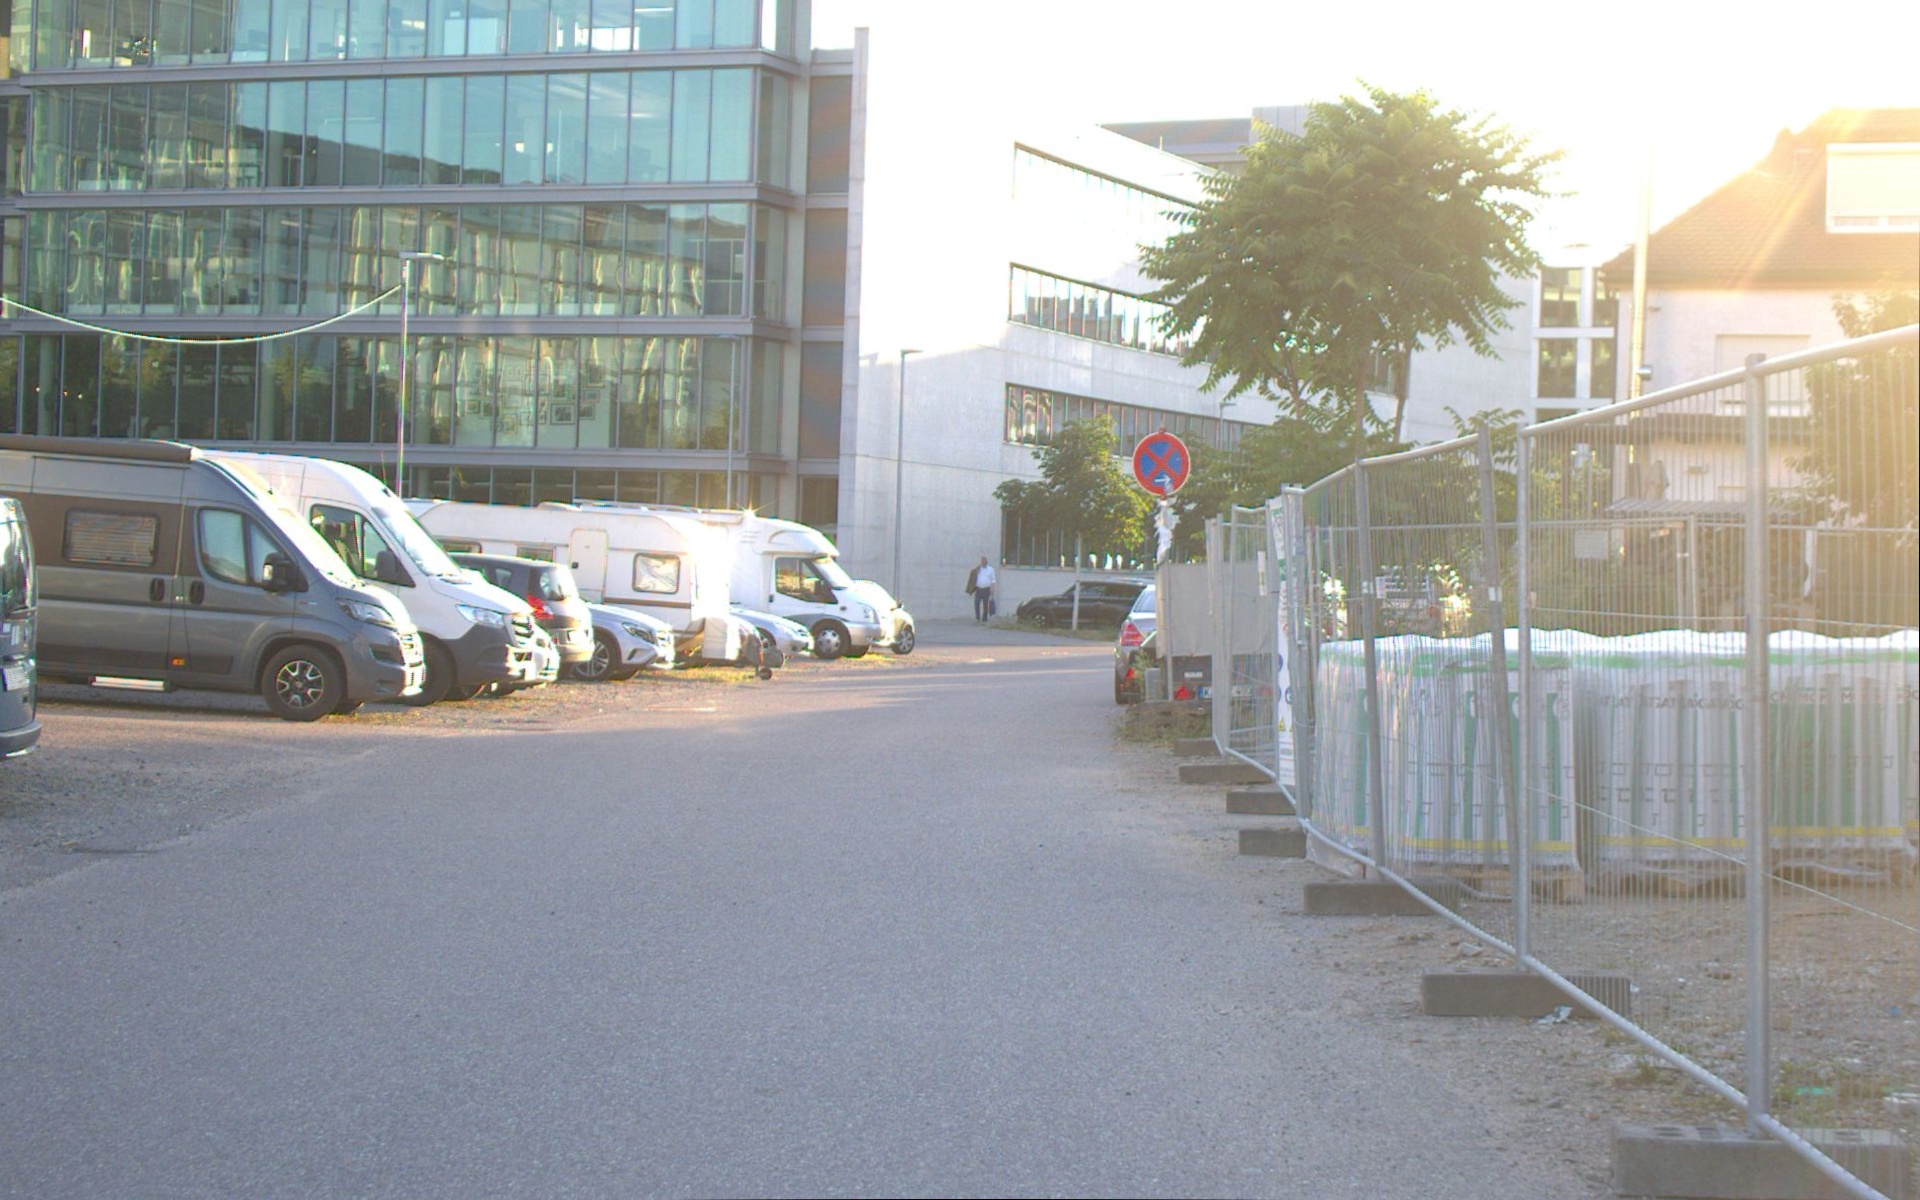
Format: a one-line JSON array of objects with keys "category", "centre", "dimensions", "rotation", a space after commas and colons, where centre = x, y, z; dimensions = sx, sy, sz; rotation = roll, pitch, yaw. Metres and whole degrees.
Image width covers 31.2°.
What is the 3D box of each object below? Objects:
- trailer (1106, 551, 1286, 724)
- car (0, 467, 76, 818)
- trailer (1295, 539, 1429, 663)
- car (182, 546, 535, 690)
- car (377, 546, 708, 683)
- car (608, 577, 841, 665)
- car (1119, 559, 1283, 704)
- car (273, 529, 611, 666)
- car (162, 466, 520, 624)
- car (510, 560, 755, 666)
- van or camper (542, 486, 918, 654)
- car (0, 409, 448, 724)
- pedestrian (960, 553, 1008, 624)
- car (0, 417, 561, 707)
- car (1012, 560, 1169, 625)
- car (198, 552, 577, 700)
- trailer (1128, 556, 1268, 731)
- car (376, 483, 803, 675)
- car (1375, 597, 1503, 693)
[{"category": "trailer", "centre": [2.662, 0.365, 37.811], "dimensions": [1.731, 1.771, 4.936], "rotation": [0, 0, 7]}, {"category": "car", "centre": [-7.150, 0.093, 19.351], "dimensions": [3.924, 1.905, 1.749], "rotation": [4, 1, -7]}, {"category": "trailer", "centre": [7.577, -0.012, 64.453], "dimensions": [2.065, 2.204, 5.220], "rotation": [1, 1, 11]}, {"category": "car", "centre": [-7.444, 0.230, 42.749], "dimensions": [3.926, 1.585, 1.748], "rotation": [2, -1, 6]}, {"category": "car", "centre": [-5.770, 0.180, 47.659], "dimensions": [4.129, 1.585, 1.747], "rotation": [4, 1, 14]}, {"category": "car", "centre": [-4.165, 0.358, 61.066], "dimensions": [3.809, 1.324, 1.692], "rotation": [3, 1, 9]}, {"category": "car", "centre": [3.109, 0.359, 43.545], "dimensions": [1.806, 1.719, 4.927], "rotation": [0, 0, 7]}, {"category": "car", "centre": [-6.724, -0.046, 44.726], "dimensions": [3.928, 1.585, 1.747], "rotation": [3, 1, 14]}, {"category": "car", "centre": [-11.781, -1.049, 65.469], "dimensions": [6.247, 2.664, 2.221], "rotation": [3, 1, 16]}, {"category": "car", "centre": [-5.329, 0.203, 56.099], "dimensions": [3.629, 1.514, 1.705], "rotation": [3, 1, 7]}, {"category": "van or camper", "centre": [-4.417, -0.588, 66.419], "dimensions": [6.744, 2.888, 2.407], "rotation": [3, 1, 11]}, {"category": "car", "centre": [-8.376, -0.387, 33.311], "dimensions": [6.387, 2.704, 2.113], "rotation": [4, 0, -2]}, {"category": "pedestrian", "centre": [0.635, -0.310, 90.949], "dimensions": [0.899, 1.844, 0.856], "rotation": [0, 1, -37]}, {"category": "car", "centre": [-7.482, -0.433, 37.380], "dimensions": [5.826, 2.703, 2.050], "rotation": [4, 1, 4]}, {"category": "car", "centre": [3.409, -0.207, 89.597], "dimensions": [3.737, 1.477, 1.768], "rotation": [3, 2, 16]}, {"category": "car", "centre": [-6.579, 0.290, 39.725], "dimensions": [3.926, 1.502, 1.789], "rotation": [2, 0, 6]}, {"category": "trailer", "centre": [2.330, 0.406, 34.055], "dimensions": [1.250, 1.659, 2.803], "rotation": [0, 0, 1]}, {"category": "car", "centre": [-5.638, -0.308, 52.610], "dimensions": [5.891, 2.525, 2.410], "rotation": [4, 0, 12]}, {"category": "car", "centre": [11.194, 1.012, 80.069], "dimensions": [2.067, 2.088, 4.868], "rotation": [1, 1, 18]}]
